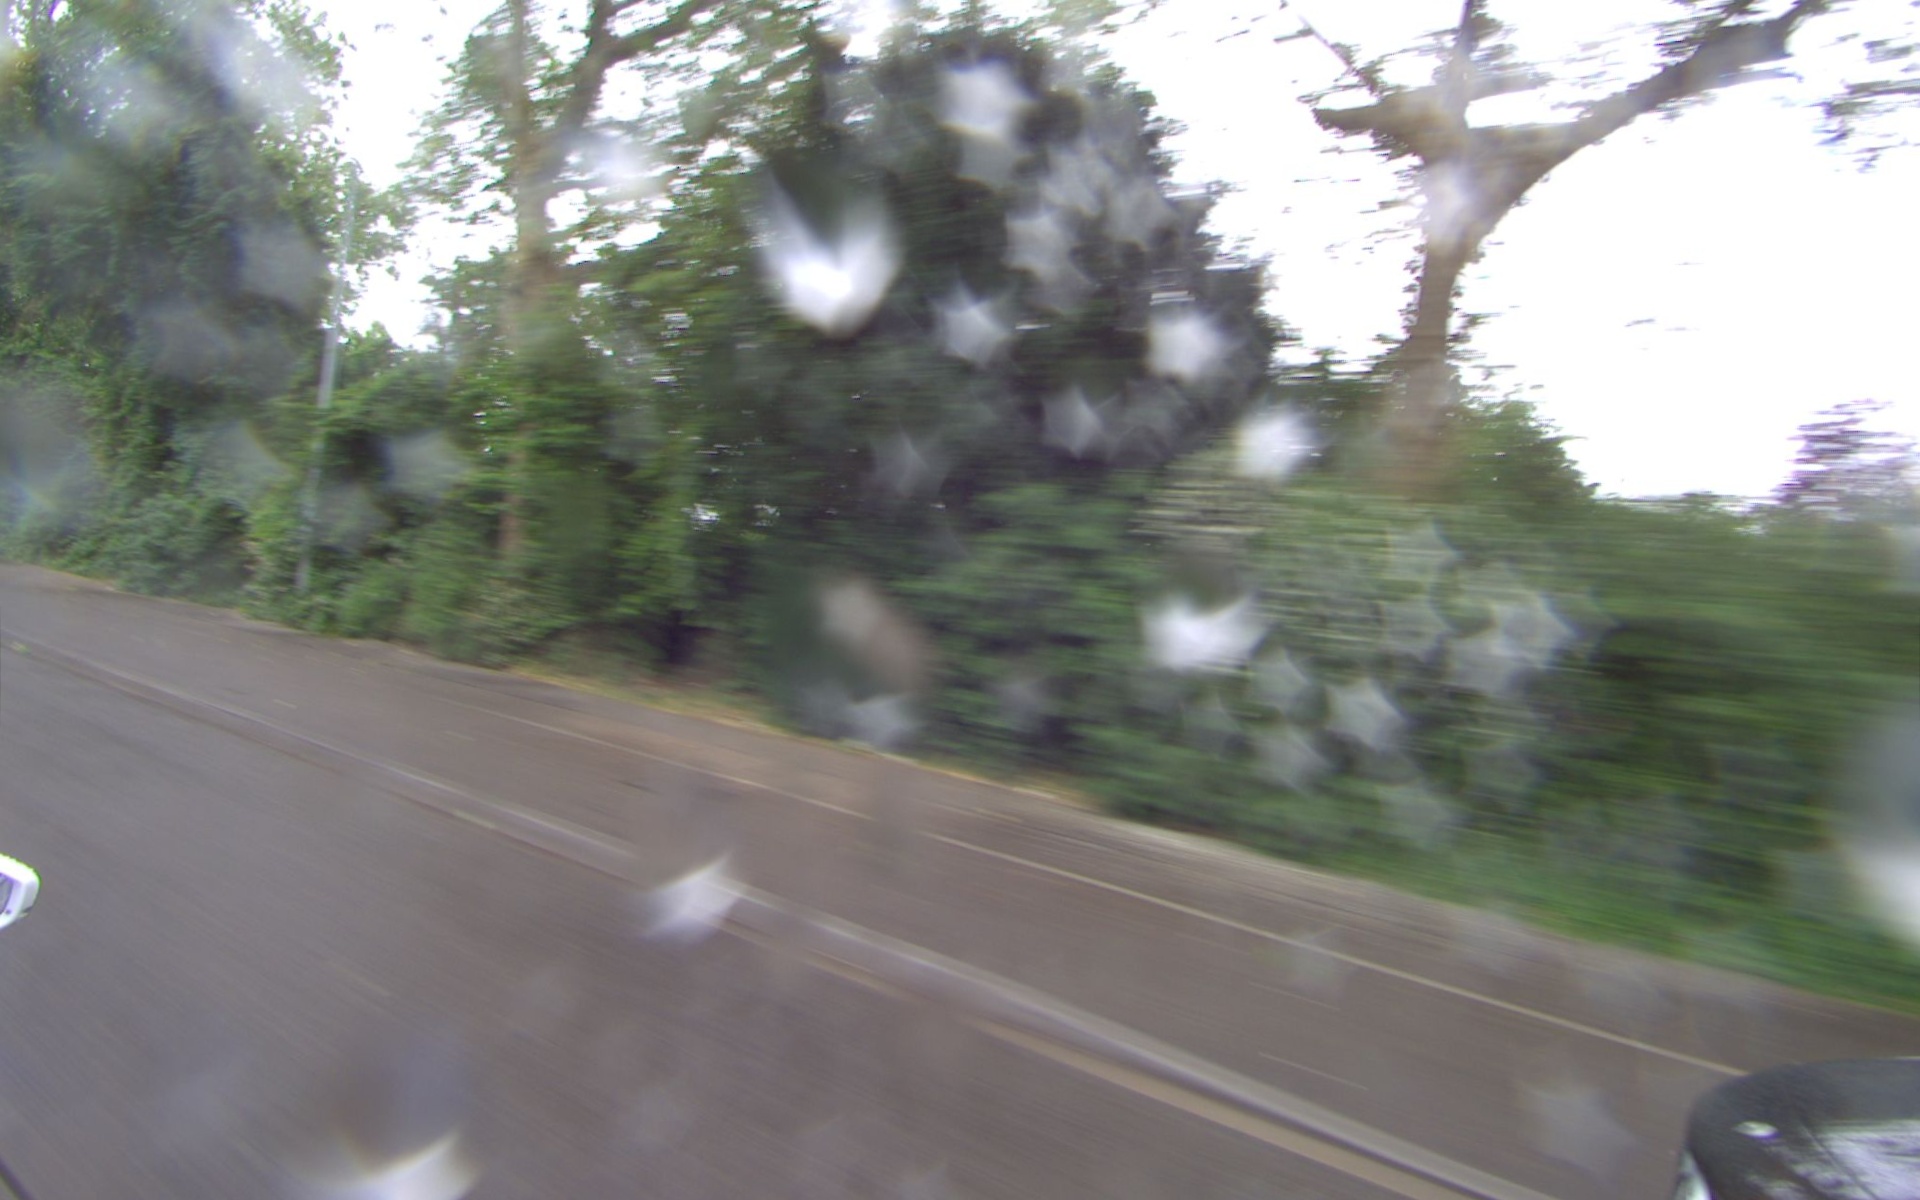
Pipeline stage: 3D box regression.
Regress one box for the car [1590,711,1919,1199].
[{"bbox_3d":[3.233,1.209,0.861,4.345,1.547,1.821,7,-2,29],"label":"car"}]
